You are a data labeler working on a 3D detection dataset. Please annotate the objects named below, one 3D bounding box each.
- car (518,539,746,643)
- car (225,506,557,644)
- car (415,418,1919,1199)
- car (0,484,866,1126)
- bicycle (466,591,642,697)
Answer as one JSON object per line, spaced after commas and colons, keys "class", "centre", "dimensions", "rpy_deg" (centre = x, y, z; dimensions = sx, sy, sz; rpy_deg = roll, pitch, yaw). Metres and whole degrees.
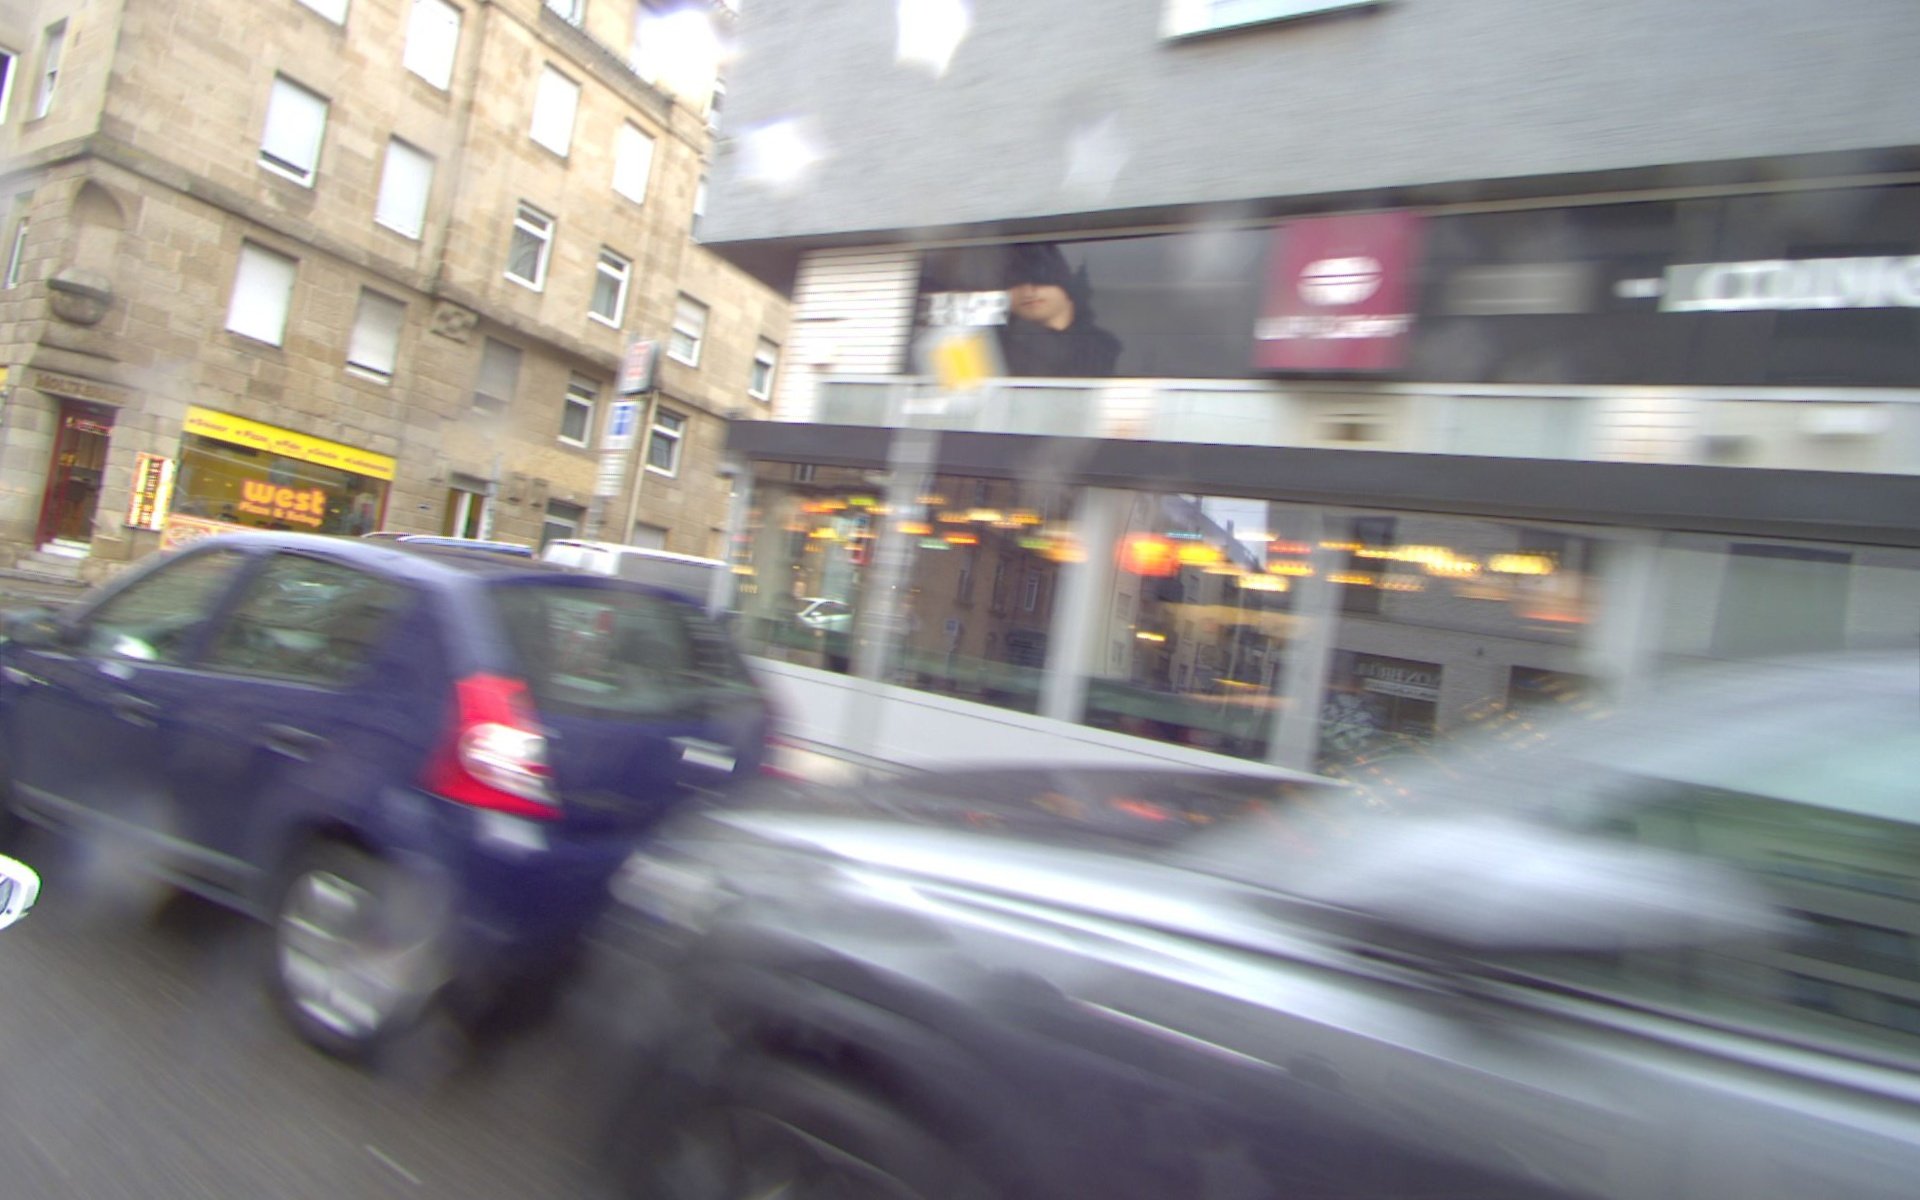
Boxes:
{"class": "car", "centre": [-7.325, -0.121, 22.998], "dimensions": [1.967, 1.949, 4.709], "rpy_deg": [5, -1, 31]}
{"class": "car", "centre": [-10.048, -0.347, 18.218], "dimensions": [1.966, 1.884, 4.785], "rpy_deg": [7, 0, 30]}
{"class": "car", "centre": [1.393, 0.857, 1.596], "dimensions": [4.489, 1.780, 1.797], "rpy_deg": [7, -2, 30]}
{"class": "car", "centre": [-2.559, 0.476, 4.236], "dimensions": [3.860, 1.500, 1.695], "rpy_deg": [7, -1, 27]}
{"class": "bicycle", "centre": [-4.496, 0.526, 11.271], "dimensions": [0.524, 0.984, 1.753], "rpy_deg": [7, -3, 32]}
